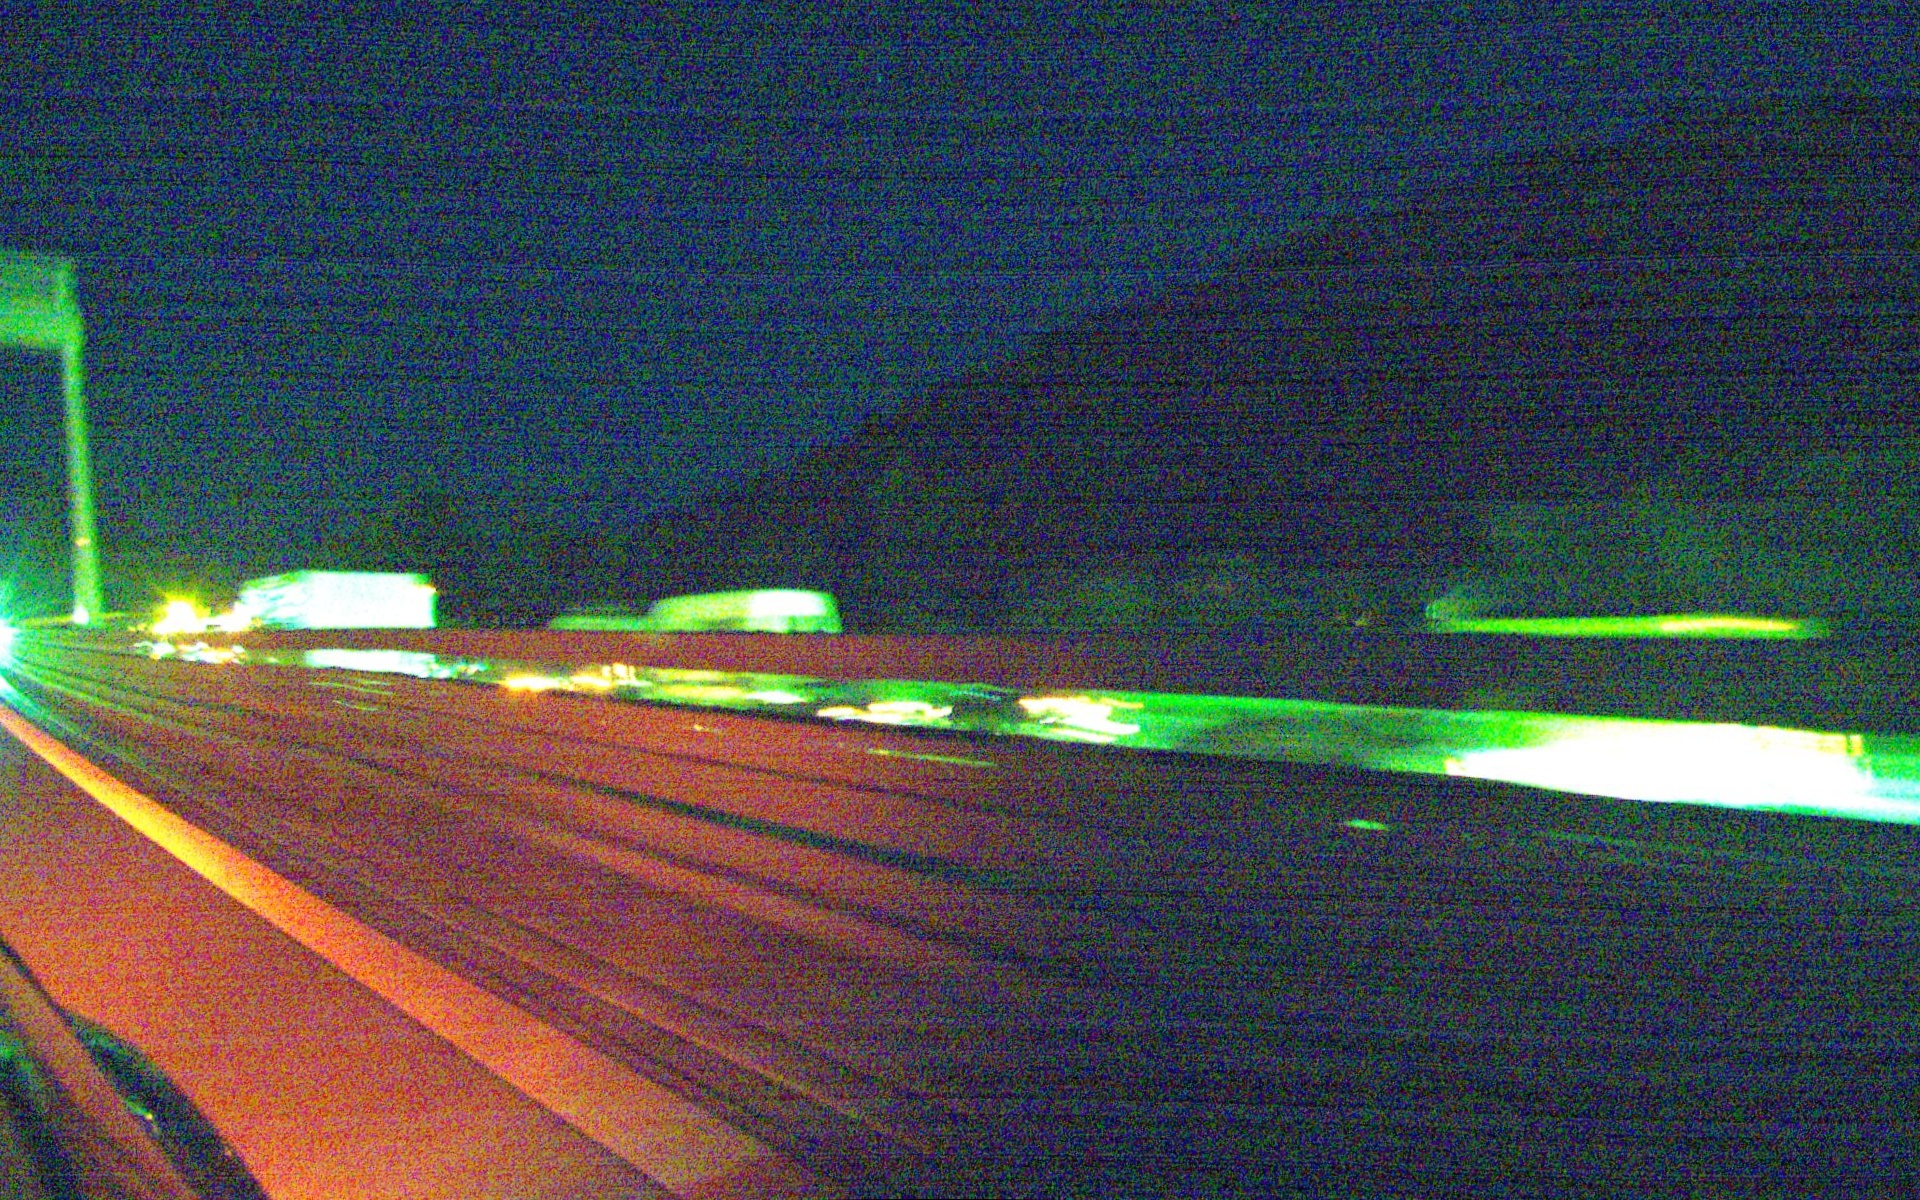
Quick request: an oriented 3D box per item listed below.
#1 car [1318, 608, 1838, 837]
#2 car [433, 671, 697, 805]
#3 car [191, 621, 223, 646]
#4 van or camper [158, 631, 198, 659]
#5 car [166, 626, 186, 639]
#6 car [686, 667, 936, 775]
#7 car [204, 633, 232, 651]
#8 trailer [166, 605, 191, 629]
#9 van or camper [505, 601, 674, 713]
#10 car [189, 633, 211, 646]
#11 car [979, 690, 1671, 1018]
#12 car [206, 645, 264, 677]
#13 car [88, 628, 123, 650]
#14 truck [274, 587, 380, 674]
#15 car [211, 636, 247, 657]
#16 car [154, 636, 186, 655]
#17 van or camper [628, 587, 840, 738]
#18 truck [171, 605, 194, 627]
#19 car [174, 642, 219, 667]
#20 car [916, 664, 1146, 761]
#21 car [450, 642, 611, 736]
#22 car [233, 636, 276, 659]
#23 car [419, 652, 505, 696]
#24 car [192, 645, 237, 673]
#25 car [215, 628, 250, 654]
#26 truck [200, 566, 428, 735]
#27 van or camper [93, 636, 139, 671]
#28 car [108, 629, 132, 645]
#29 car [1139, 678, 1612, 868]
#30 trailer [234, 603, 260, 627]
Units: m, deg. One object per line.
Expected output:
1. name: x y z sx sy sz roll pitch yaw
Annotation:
1. car: 7.670 1.342 13.064 5.443 2.388 1.815 -1 -2 40
2. car: -5.997 1.927 15.181 4.143 1.548 1.973 -1 -2 40
3. car: -77.859 3.423 104.635 2.003 2.460 5.701 -1 0 -43
4. van or camper: -58.919 3.357 76.196 1.969 2.029 5.227 1 -2 -43
5. car: -94.397 3.929 121.799 1.794 1.480 4.286 0 -1 -40
6. car: -2.687 1.981 17.583 4.502 1.463 1.815 -1 -2 40
7. car: -67.999 3.808 92.735 1.794 1.569 4.286 0 -1 -40
8. trailer: -135.897 2.886 176.039 2.500 3.741 10.155 -3 2 -33
9. van or camper: -11.094 1.608 30.017 6.395 2.994 1.815 -1 -2 40
10. car: -105.653 5.491 140.667 2.049 1.647 4.928 1 -2 -41
11. car: 2.445 1.534 7.527 4.502 1.463 1.801 -1 -2 40
12. car: -35.833 2.981 49.959 4.256 1.453 1.583 -1 -2 44
13. car: -69.507 3.129 82.349 2.112 1.719 5.120 1 -2 -40
14. truck: -33.169 1.583 52.922 3.379 4.255 6.286 2 -2 -45
15. car: -56.411 3.569 78.085 1.816 1.453 4.004 1 -1 -43
16. car: -72.997 4.186 93.448 2.112 1.635 5.120 1 -2 -40
17. van or camper: -5.801 1.468 25.465 5.690 3.405 2.246 -1 -2 40
18. truck: -139.652 2.856 181.782 2.568 3.771 6.775 -3 2 -32
19. car: -48.785 3.449 64.644 3.999 1.453 1.583 -1 -2 42
20. car: 1.252 2.003 18.916 3.998 1.463 1.815 -1 -2 40
21. car: -10.632 2.106 24.958 3.994 2.029 1.974 -2 -1 38
22. car: -46.862 3.147 67.235 4.001 1.453 1.583 -1 -2 44
23. car: -18.477 2.697 37.477 4.001 1.453 1.583 -1 -2 44
24. car: -43.073 3.405 58.472 1.581 1.453 4.388 1 -2 -43
25. car: -61.932 3.445 86.089 2.112 2.070 5.122 1 -2 -39
26. truck: -16.481 1.123 25.485 8.548 3.618 2.626 -1 0 42
27. van or camper: -52.598 3.270 63.036 2.006 2.029 4.581 1 -2 -43
28. car: -82.989 3.664 100.006 1.794 1.480 4.286 0 -1 -40
29. car: 4.410 1.711 11.190 4.502 1.463 1.801 -1 -2 40
30. trailer: -145.259 2.946 206.315 3.105 4.347 14.855 -3 2 -31
